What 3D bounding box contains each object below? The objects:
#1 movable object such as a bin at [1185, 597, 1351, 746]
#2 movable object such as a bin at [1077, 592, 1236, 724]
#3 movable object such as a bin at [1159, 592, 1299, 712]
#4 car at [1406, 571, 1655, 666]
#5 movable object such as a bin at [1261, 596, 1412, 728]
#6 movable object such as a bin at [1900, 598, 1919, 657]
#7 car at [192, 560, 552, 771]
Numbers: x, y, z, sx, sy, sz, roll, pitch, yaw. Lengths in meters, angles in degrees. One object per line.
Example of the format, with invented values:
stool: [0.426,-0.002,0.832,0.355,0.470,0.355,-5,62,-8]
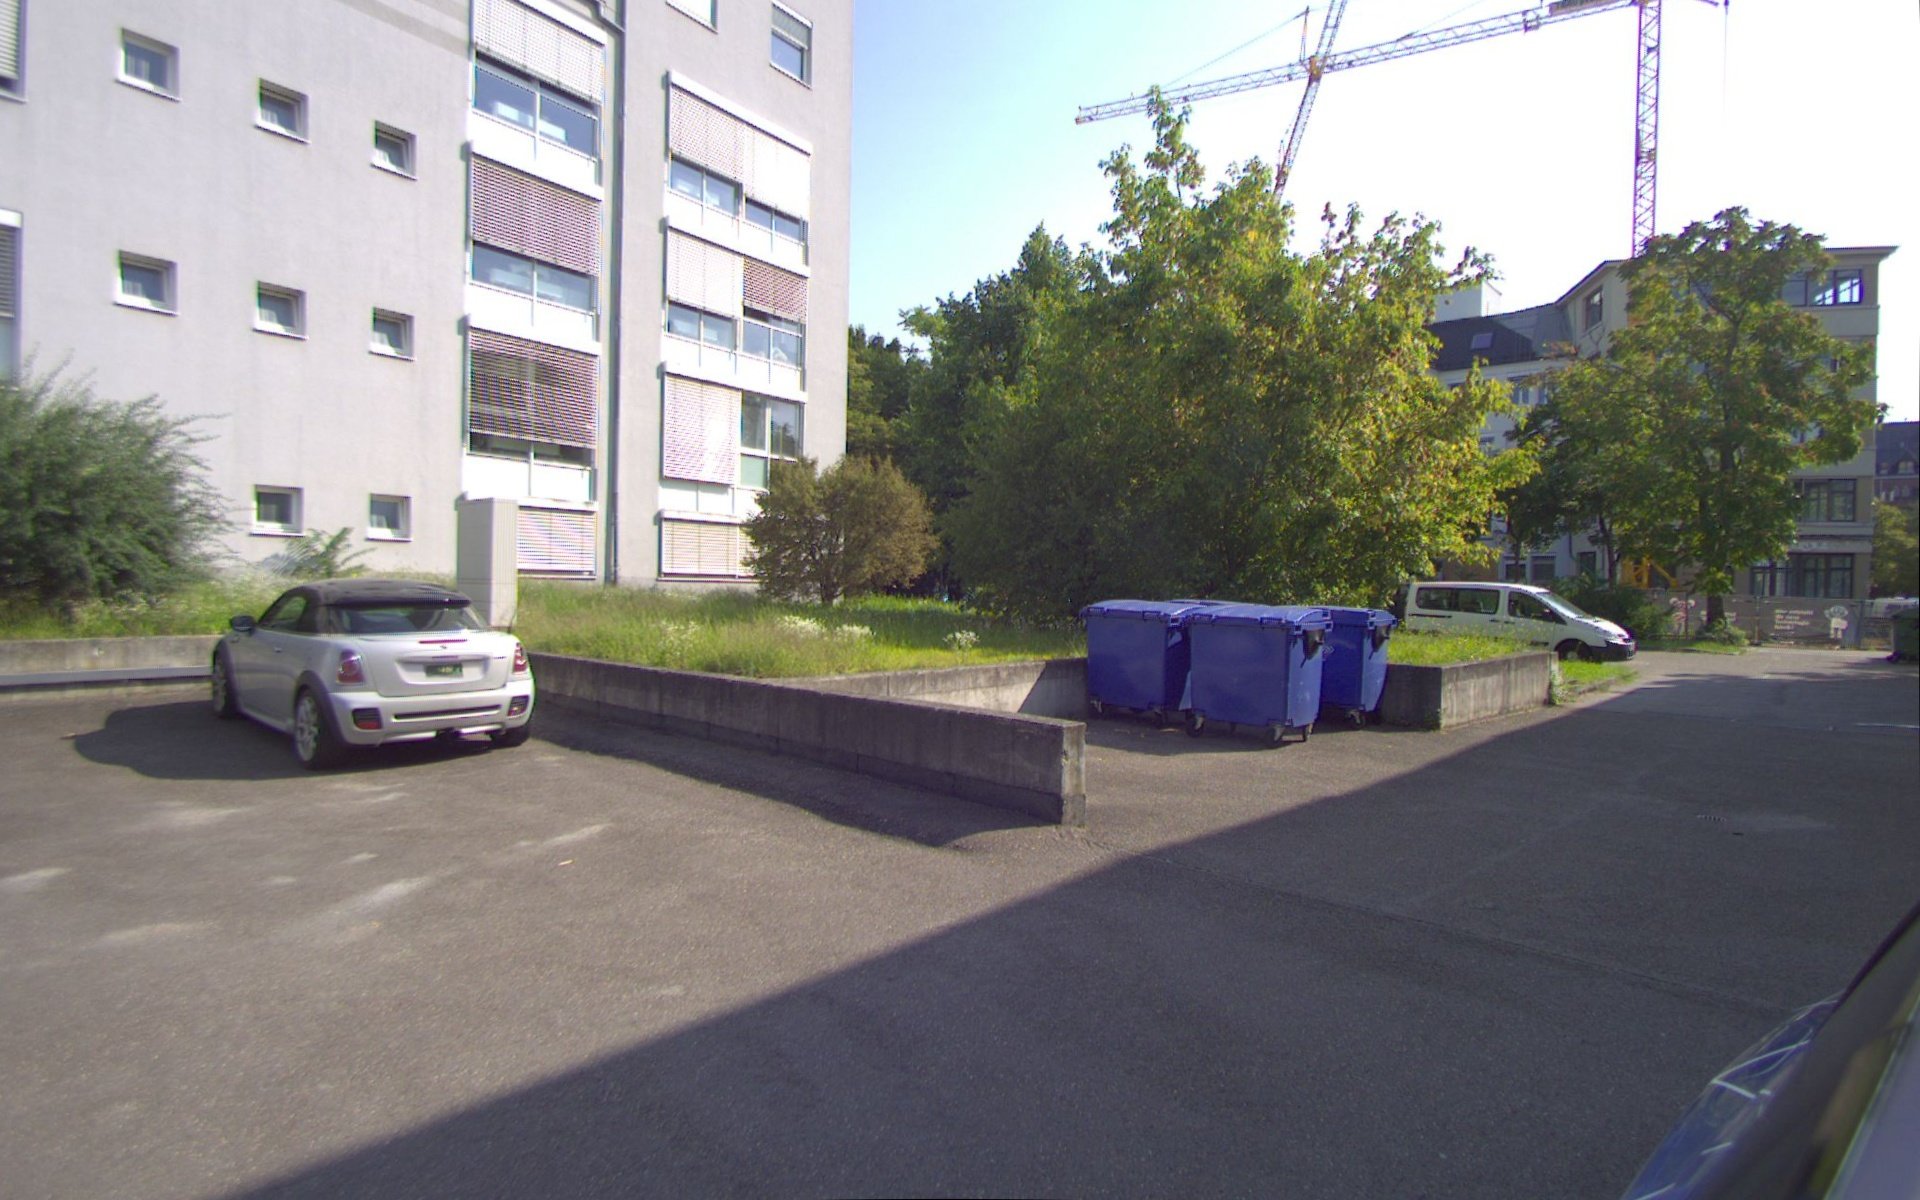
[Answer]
movable object such as a bin: [3.156,0.666,10.355,1.209,1.368,1.256,2,1,41]
movable object such as a bin: [2.202,0.597,11.330,1.254,1.344,1.255,2,1,43]
movable object such as a bin: [3.304,0.594,12.432,1.197,1.344,1.255,2,1,43]
car: [13.326,0.342,23.866,1.878,1.956,4.781,1,1,-45]
movable object such as a bin: [4.259,0.648,11.449,1.197,1.344,1.255,2,1,43]
movable object such as a bin: [24.899,0.707,25.678,1.520,1.484,1.255,2,1,43]
car: [-5.287,0.421,8.932,3.566,1.455,1.635,2,1,40]
